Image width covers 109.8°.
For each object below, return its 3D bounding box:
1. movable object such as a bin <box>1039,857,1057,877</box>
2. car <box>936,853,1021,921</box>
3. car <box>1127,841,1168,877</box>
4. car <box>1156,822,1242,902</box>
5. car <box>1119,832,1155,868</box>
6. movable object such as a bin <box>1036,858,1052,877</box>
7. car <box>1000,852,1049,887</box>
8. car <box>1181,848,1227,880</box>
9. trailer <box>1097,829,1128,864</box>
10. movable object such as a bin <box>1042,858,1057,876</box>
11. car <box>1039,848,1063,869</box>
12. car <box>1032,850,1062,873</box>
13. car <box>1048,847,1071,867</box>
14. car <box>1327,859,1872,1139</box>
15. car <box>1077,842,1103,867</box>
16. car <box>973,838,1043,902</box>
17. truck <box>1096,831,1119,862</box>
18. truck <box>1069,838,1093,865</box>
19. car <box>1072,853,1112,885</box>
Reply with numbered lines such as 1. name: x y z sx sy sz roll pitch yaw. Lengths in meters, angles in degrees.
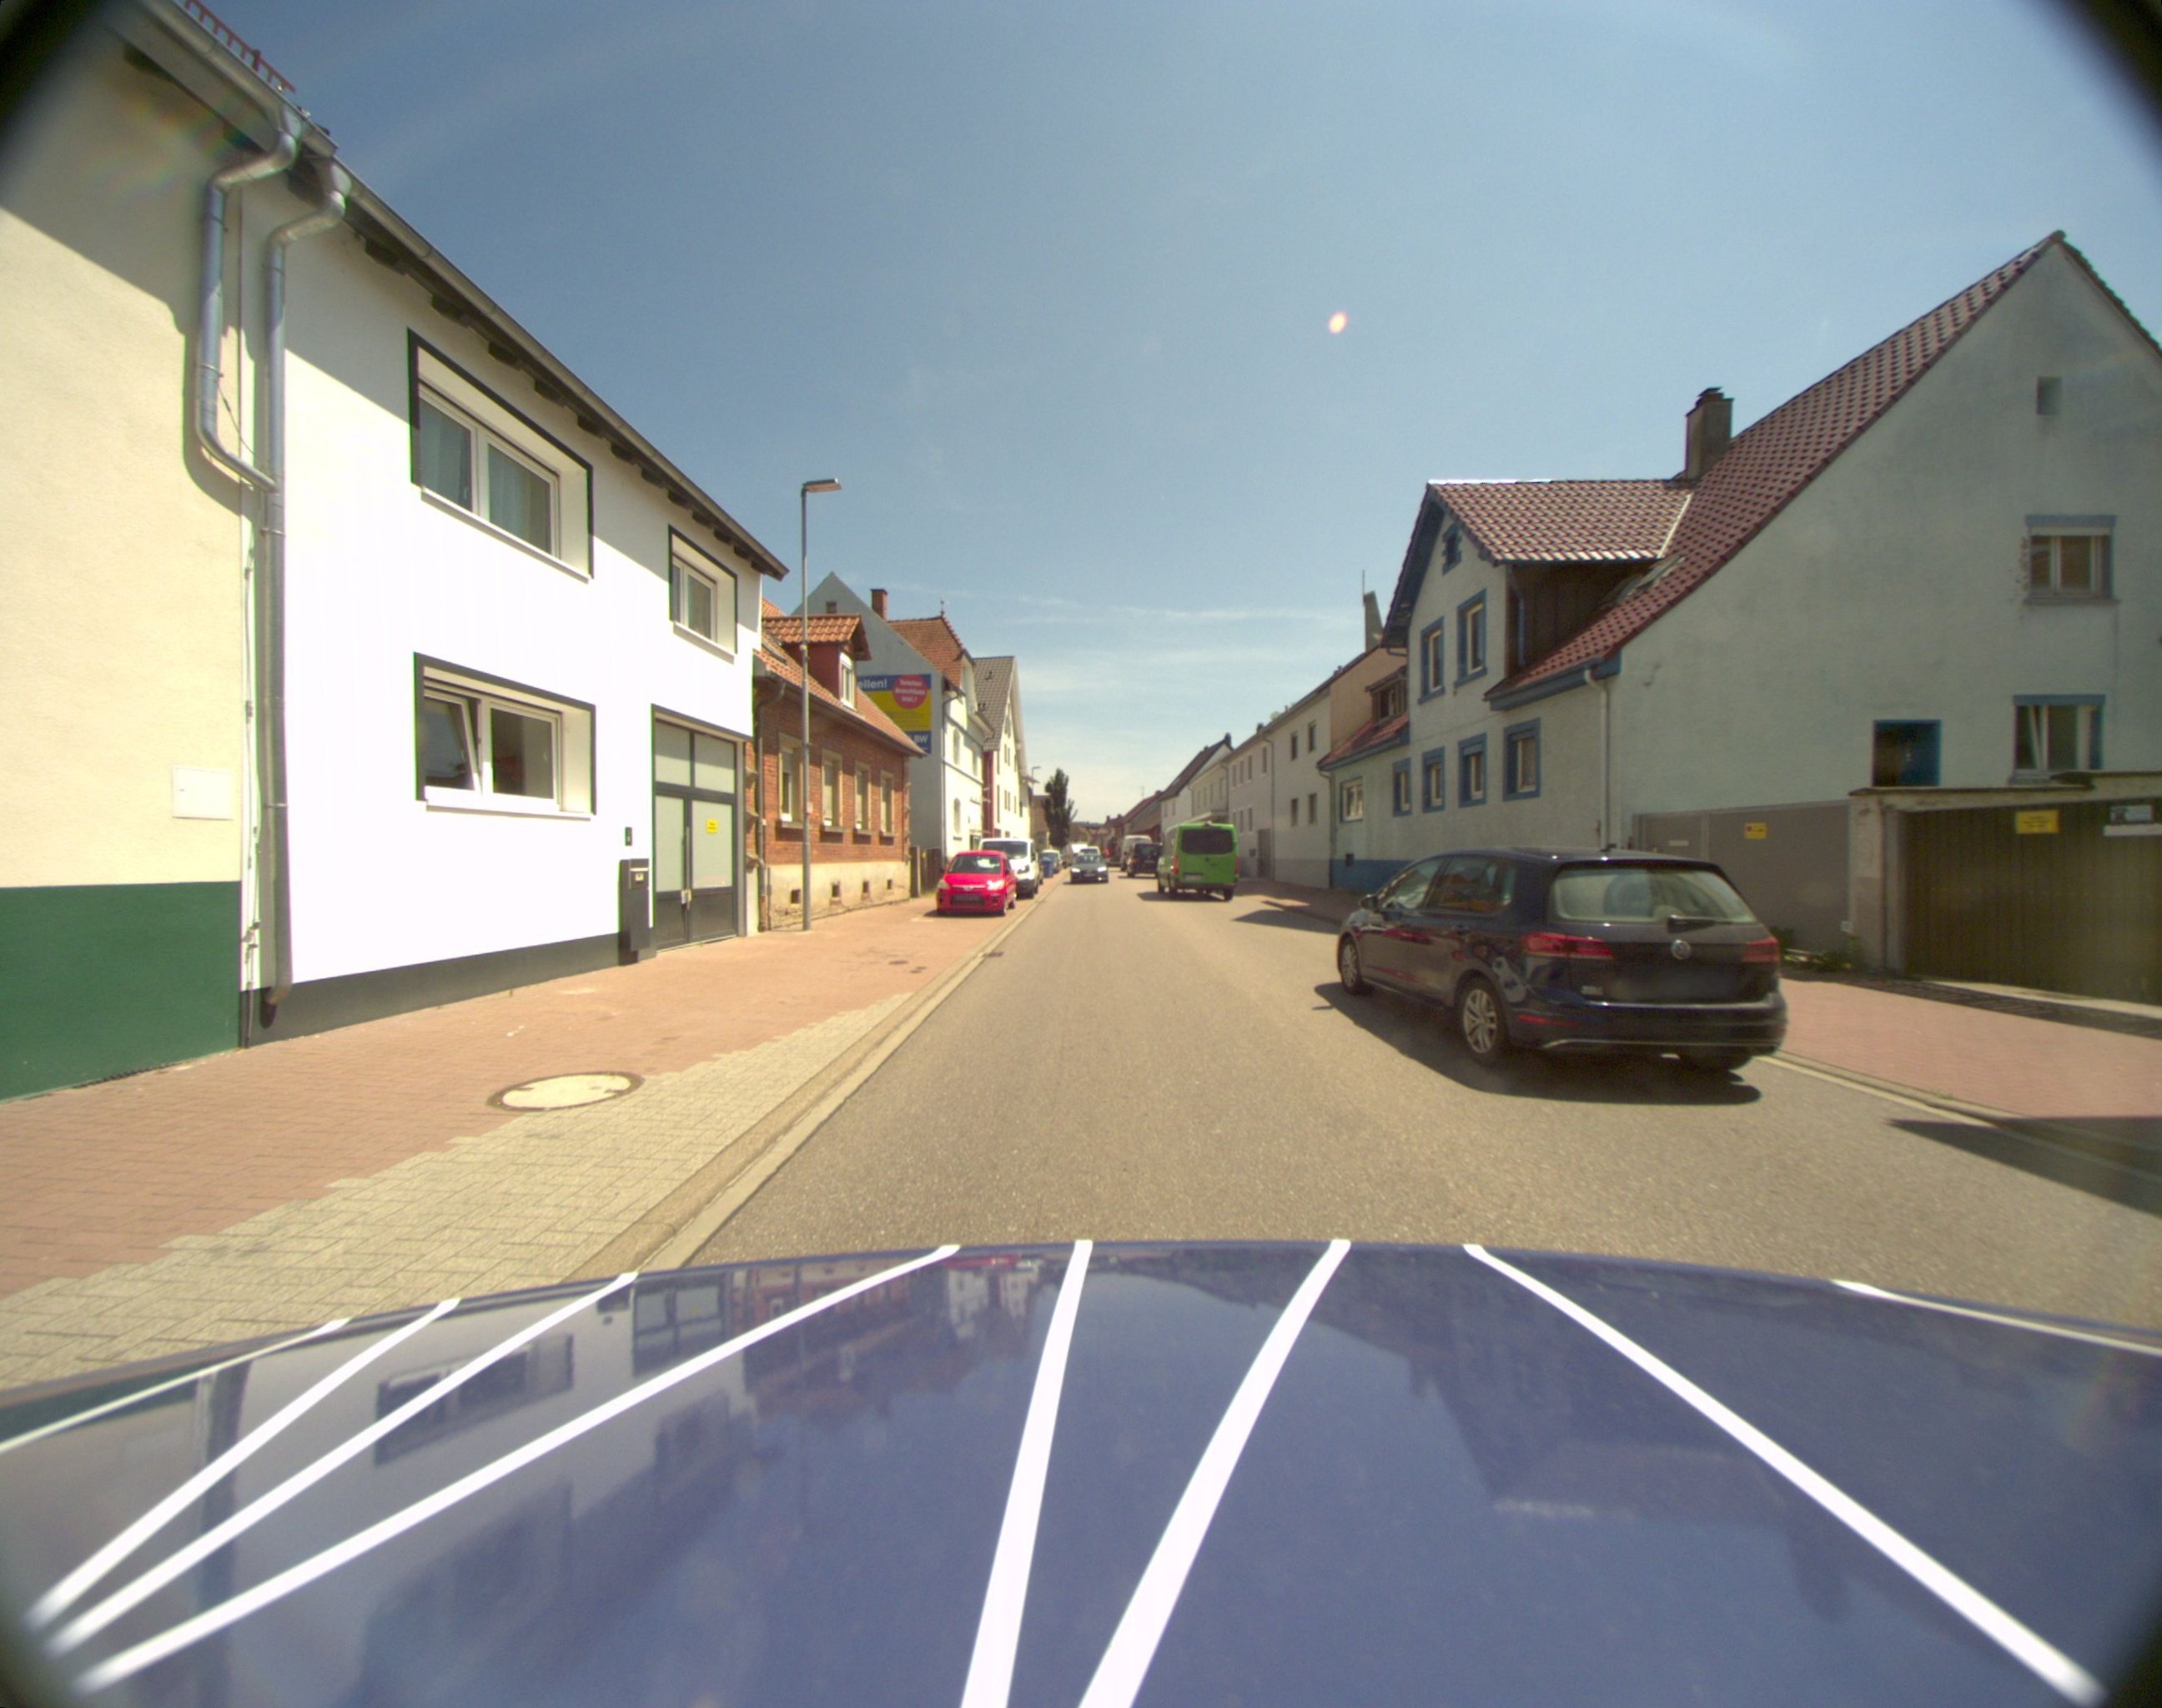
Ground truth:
1. movable object such as a bin: -1.860 0.742 43.020 0.723 1.067 0.973 1 1 17
2. car: -2.465 0.749 18.950 1.614 1.519 3.676 0 0 0
3. car: 3.707 0.233 43.047 1.885 1.932 5.117 0 1 0
4. car: 3.791 0.227 25.477 2.056 2.340 6.081 0 0 1
5. car: 4.033 -0.302 55.665 2.130 2.527 5.461 0 0 -1
6. movable object such as a bin: -2.151 0.780 44.104 0.655 1.054 0.836 1 1 17
7. car: -2.477 0.659 34.185 1.774 1.457 4.577 0 0 1
8. car: 6.664 0.496 41.501 1.812 1.548 4.564 -3 1 1
9. trailer: 3.852 -0.961 96.189 2.638 3.956 15.693 1 1 -2
10. movable object such as a bin: -1.821 0.731 43.937 0.656 1.029 0.685 1 1 17
11. car: -2.232 0.302 58.085 1.610 1.513 3.544 2 1 0
12. car: -2.274 0.447 51.787 1.704 1.438 4.836 2 1 1
13. car: -1.843 0.258 65.953 1.807 1.604 4.548 1 0 0
14. car: 3.599 0.839 6.355 1.769 1.527 4.078 1 0 0
15. car: 0.759 0.055 64.771 2.079 1.949 5.518 -1 0 1
16. car: -2.369 0.474 25.763 1.951 1.959 4.784 0 0 -1
17. truck: 3.551 -1.038 103.734 2.625 3.962 6.850 1 1 -2
18. truck: -0.054 -0.337 100.863 2.868 3.492 8.317 0 0 -2
19. car: 0.504 0.673 35.820 1.786 1.364 3.607 -1 0 0
